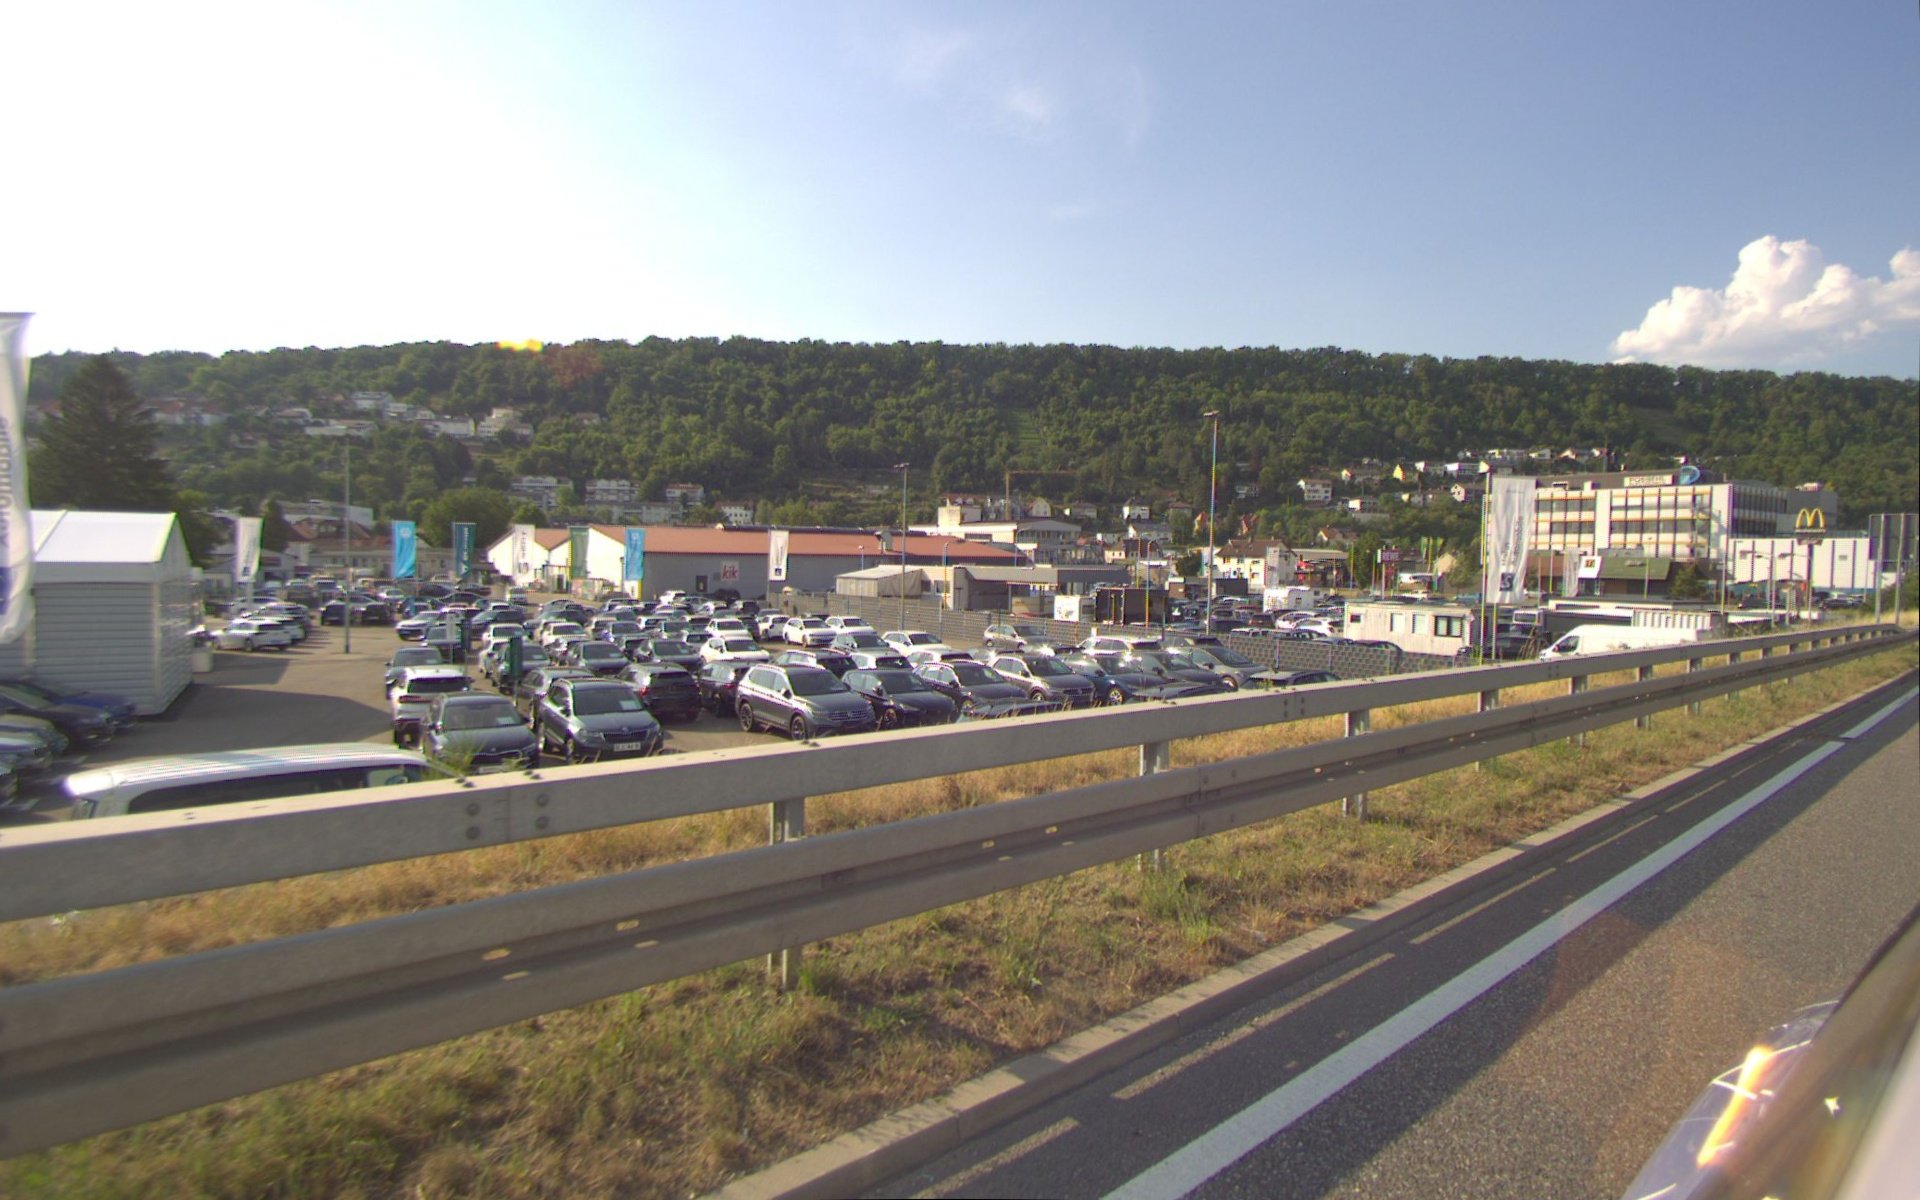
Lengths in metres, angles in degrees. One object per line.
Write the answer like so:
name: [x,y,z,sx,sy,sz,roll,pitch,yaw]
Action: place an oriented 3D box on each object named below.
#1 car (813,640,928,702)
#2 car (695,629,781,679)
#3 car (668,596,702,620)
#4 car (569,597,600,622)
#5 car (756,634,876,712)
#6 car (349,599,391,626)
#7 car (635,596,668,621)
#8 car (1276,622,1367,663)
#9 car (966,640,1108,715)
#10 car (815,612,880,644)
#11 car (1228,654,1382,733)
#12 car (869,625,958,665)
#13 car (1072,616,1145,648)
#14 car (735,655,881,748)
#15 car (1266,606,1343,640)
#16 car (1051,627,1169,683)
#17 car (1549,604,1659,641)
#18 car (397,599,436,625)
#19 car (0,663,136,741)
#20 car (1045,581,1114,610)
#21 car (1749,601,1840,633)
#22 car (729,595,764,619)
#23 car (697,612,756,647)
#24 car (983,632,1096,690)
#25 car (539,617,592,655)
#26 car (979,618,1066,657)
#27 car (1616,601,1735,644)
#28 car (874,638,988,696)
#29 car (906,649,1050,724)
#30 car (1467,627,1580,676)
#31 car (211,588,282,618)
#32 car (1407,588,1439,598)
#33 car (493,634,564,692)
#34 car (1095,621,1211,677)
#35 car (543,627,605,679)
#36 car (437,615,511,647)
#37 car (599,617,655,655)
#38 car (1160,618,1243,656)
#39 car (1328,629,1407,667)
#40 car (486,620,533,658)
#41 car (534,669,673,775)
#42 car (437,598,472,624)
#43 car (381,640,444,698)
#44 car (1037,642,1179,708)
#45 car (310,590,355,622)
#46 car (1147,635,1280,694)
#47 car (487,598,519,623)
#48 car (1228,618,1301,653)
car: [-2.917,2.178,32.035,1.766,1.562,4.435,-1,1,-33]
car: [-8.485,2.000,38.448,1.766,1.562,4.435,-1,1,-33]
car: [-21.081,0.587,77.441,1.958,1.738,4.008,1,0,-23]
car: [-27.466,0.682,73.954,1.958,1.738,4.008,1,0,-23]
car: [-4.399,2.090,30.315,1.767,1.723,4.436,-5,5,-33]
car: [-40.441,0.834,69.428,1.958,1.738,4.008,1,0,-23]
car: [-23.239,0.621,76.169,1.958,1.738,4.008,1,0,-23]
car: [17.501,2.000,48.932,4.412,1.722,1.972,-1,1,-35]
car: [2.136,2.162,29.297,1.766,1.735,4.435,-1,1,-33]
car: [-6.182,1.481,55.325,1.766,1.562,4.347,-1,1,-33]
car: [8.972,2.346,26.184,4.354,1.563,1.798,-1,1,-40]
car: [-2.015,1.852,42.870,1.766,1.386,4.435,-1,1,-33]
car: [8.092,1.726,55.062,3.819,1.563,1.800,-1,1,-36]
car: [-3.763,2.344,24.423,1.806,1.687,4.435,-1,1,-33]
car: [20.432,1.326,60.176,1.772,1.677,4.000,-1,3,-37]
car: [5.384,1.938,36.920,1.766,1.735,4.435,-1,1,-33]
car: [33.002,1.101,51.972,2.092,1.772,4.332,0,0,-39]
car: [-37.881,0.809,70.624,1.958,1.738,4.008,1,0,-23]
car: [-21.319,2.321,22.959,3.925,1.482,1.960,-1,1,-35]
car: [6.758,-0.292,57.211,3.818,1.563,1.602,-1,1,-36]
car: [50.702,1.002,61.545,1.802,1.838,3.996,-1,1,-39]
car: [-16.793,0.531,79.358,1.958,1.738,4.008,1,0,-23]
car: [-11.903,1.452,51.418,1.764,1.562,4.351,-1,1,-29]
car: [2.808,2.147,36.636,1.766,1.735,4.435,-1,1,-33]
car: [-18.637,1.660,47.691,1.764,1.562,4.351,-1,1,-29]
car: [2.869,1.689,47.103,1.766,1.562,4.435,-1,1,-33]
car: [31.838,0.966,45.124,1.867,1.772,3.996,-1,1,-39]
car: [-1.036,2.179,33.827,1.766,1.562,4.435,-1,1,-33]
car: [0.387,2.275,27.555,1.766,1.562,4.435,-1,1,-33]
car: [26.256,2.361,47.274,4.532,2.039,1.882,0,1,30]
car: [-51.016,0.209,72.441,3.918,2.039,2.003,-1,1,-27]
car: [64.573,-0.995,141.124,1.658,1.438,3.653,-1,1,-36]
car: [-14.584,2.058,34.096,1.746,1.584,4.005,-1,1,-29]
car: [7.245,1.806,38.378,1.766,1.735,4.435,-1,2,-33]
car: [-15.380,2.052,40.214,1.746,1.749,4.005,-1,1,-29]
car: [-28.202,1.744,58.861,1.814,1.660,3.986,0,1,12]
car: [-16.164,1.709,49.011,1.764,1.562,4.351,-1,1,-29]
car: [11.771,1.754,49.240,4.204,1.614,1.602,-1,1,-35]
car: [18.930,2.189,46.958,3.793,1.530,1.602,-1,1,-35]
car: [-20.756,1.759,46.557,1.677,1.482,4.005,-1,1,-28]
car: [-7.633,2.456,21.386,1.765,1.628,4.435,1,0,-33]
car: [-35.635,0.767,71.453,1.958,1.738,4.008,1,0,-23]
car: [-17.543,2.144,32.473,1.677,1.482,4.005,-1,1,-28]
car: [4.391,2.200,30.611,1.766,1.562,4.435,-1,1,-33]
car: [-42.558,0.390,68.677,1.958,2.039,4.008,1,0,-23]
car: [8.188,2.035,32.964,1.754,1.562,3.984,-1,1,-37]
car: [-32.819,0.729,72.753,1.958,1.738,4.008,1,0,-23]
car: [15.512,1.799,51.490,3.817,1.583,1.602,-1,1,-35]
